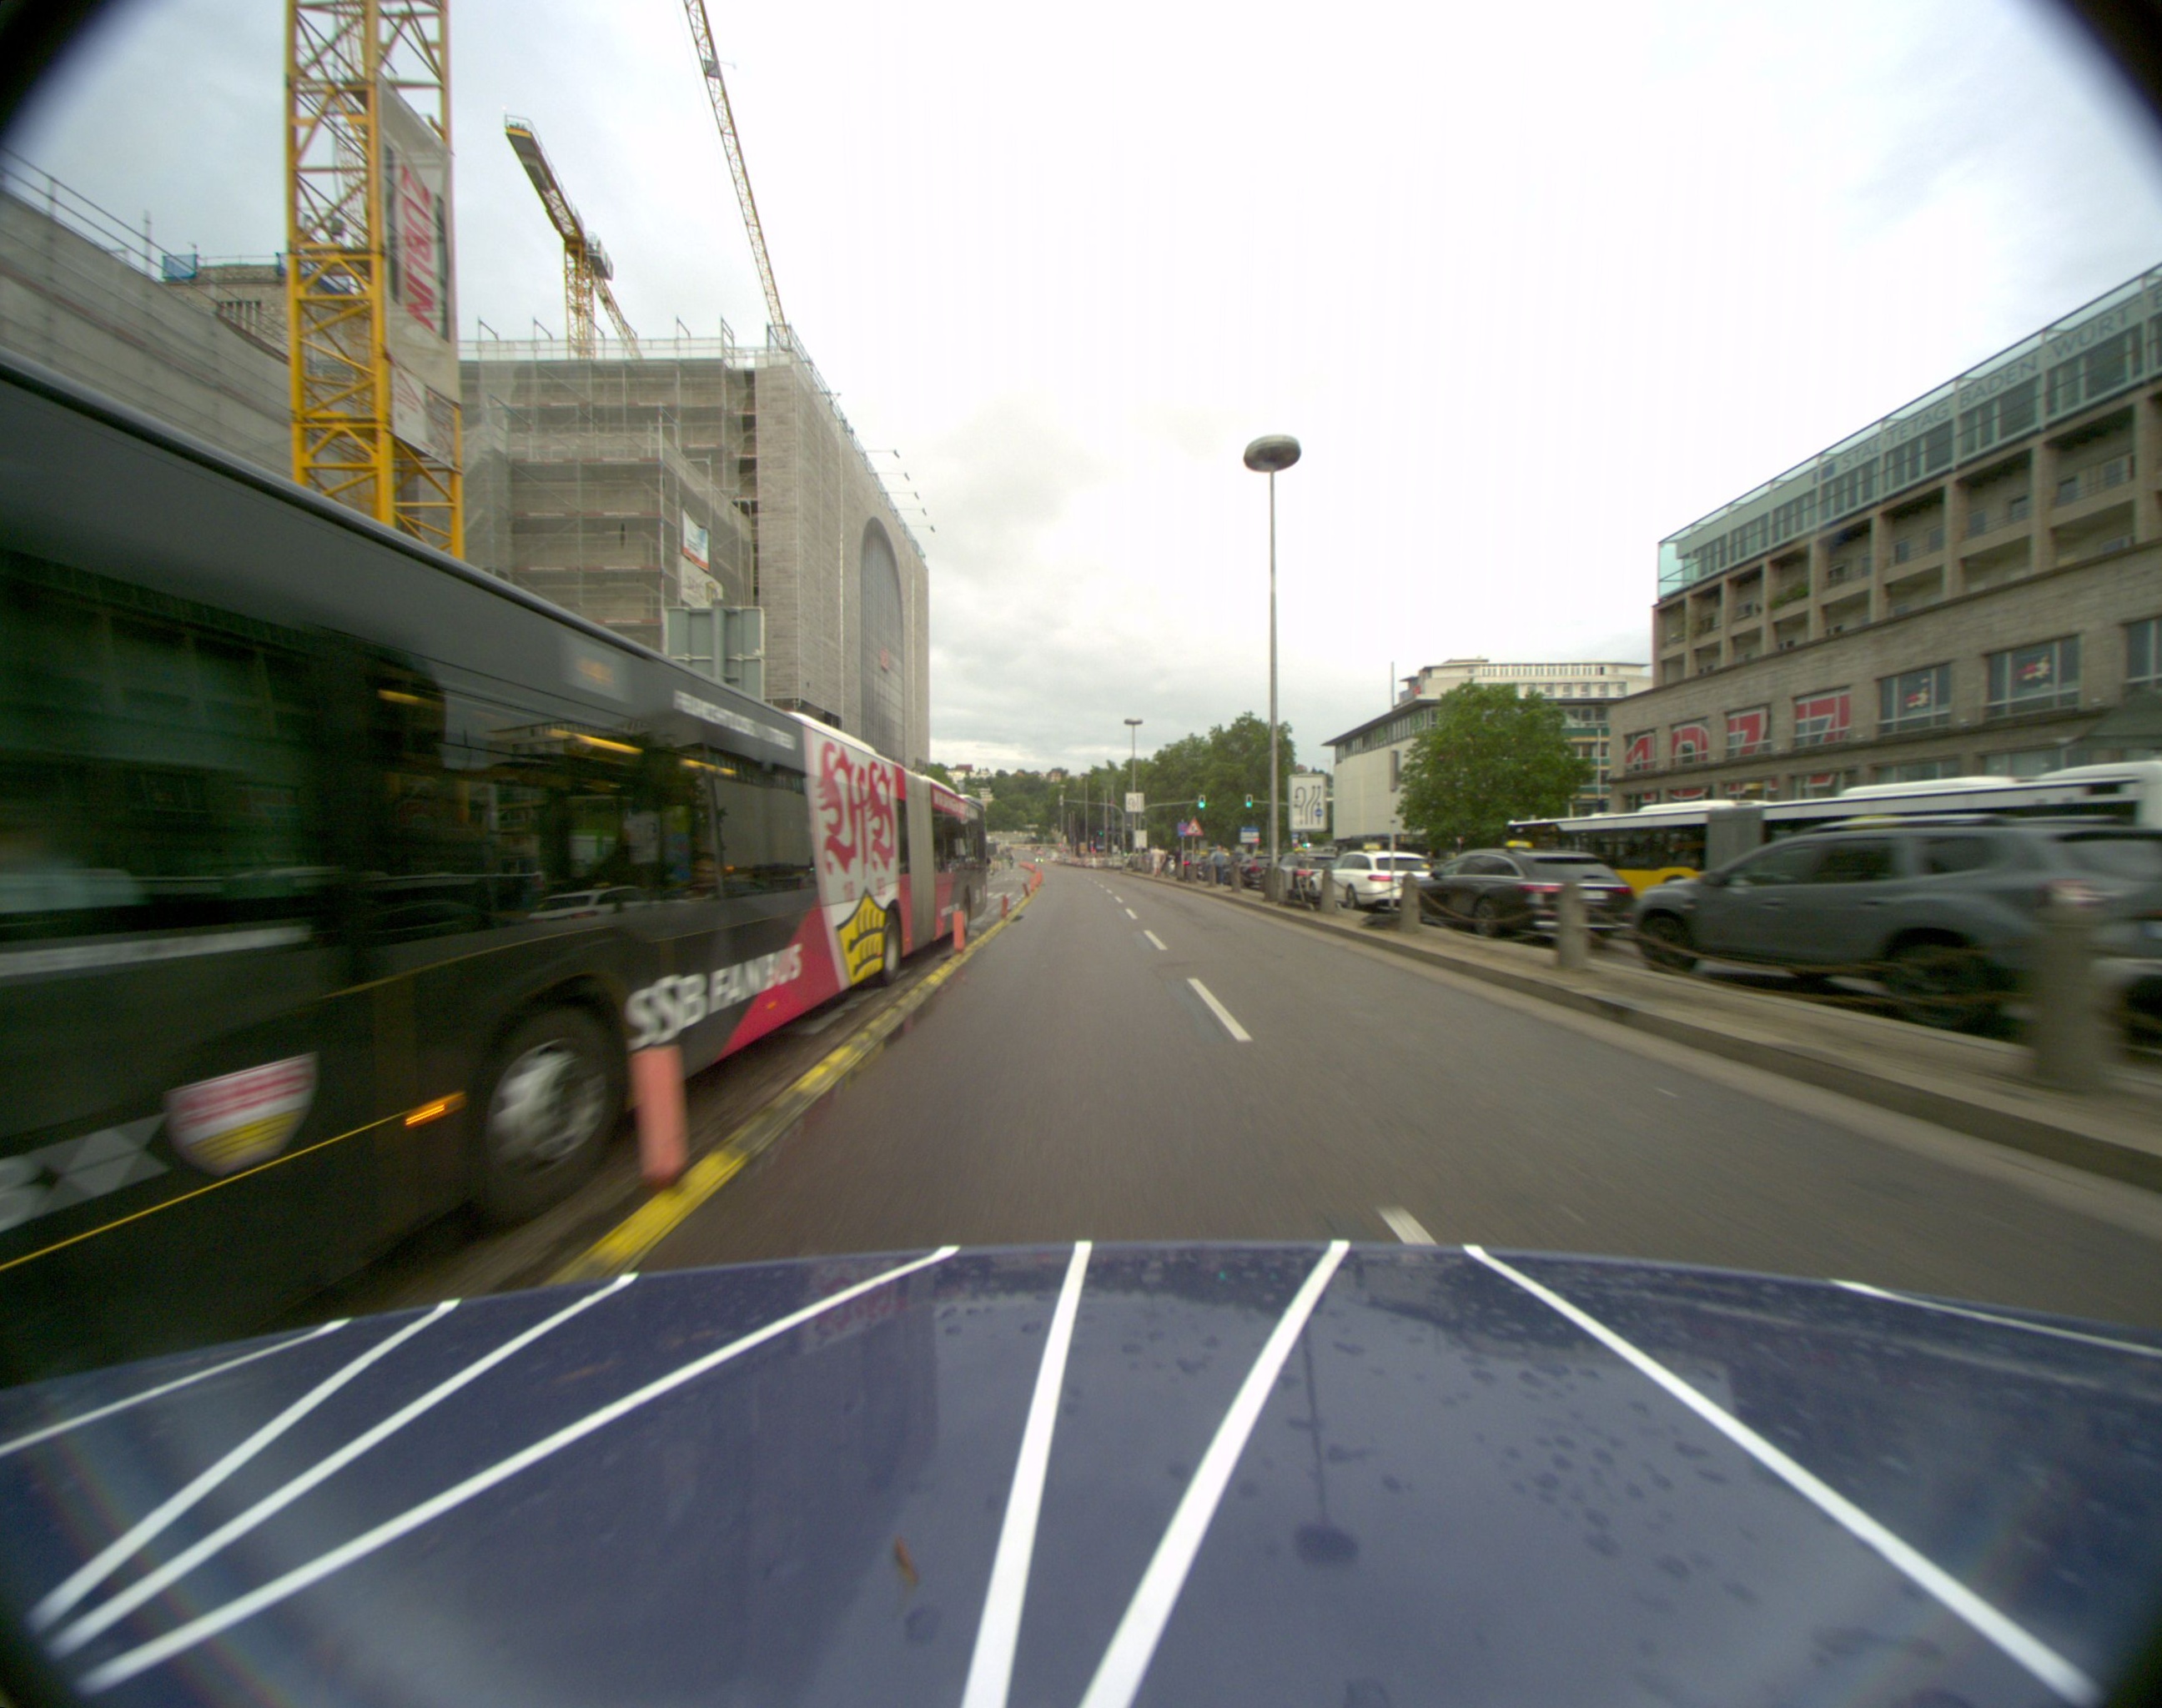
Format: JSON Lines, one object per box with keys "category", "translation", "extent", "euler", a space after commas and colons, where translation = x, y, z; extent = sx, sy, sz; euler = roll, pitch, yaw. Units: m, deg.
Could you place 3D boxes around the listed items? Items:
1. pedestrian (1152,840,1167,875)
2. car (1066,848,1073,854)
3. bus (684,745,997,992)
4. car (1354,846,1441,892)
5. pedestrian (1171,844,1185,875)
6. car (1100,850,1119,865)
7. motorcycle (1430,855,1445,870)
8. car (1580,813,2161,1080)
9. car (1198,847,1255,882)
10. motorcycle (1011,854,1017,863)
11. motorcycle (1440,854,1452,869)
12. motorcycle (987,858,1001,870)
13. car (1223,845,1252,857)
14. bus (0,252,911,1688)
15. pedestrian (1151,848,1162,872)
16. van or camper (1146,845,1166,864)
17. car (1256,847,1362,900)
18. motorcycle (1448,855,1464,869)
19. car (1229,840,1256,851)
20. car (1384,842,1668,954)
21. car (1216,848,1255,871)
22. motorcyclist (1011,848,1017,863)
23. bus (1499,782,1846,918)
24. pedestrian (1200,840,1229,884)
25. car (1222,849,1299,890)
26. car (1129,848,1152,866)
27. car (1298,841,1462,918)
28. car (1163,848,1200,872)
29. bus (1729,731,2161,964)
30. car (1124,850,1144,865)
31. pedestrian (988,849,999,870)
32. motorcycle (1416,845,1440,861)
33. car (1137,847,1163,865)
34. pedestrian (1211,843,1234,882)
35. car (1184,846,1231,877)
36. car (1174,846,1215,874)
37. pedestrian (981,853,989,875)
{"category": "pedestrian", "translation": [4.608, 0.204, 44.529], "extent": [0.724, 1.996, 0.772], "euler": [-2, 1, 0]}
{"category": "car", "translation": [-2.728, -0.755, 184.391], "extent": [1.682, 1.533, 3.174], "euler": [0, -1, 0]}
{"category": "bus", "translation": [-3.553, 0.142, 14.204], "extent": [2.762, 3.051, 9.079], "euler": [-2, 1, 1]}
{"category": "car", "translation": [13.881, 0.642, 33.589], "extent": [1.999, 1.818, 4.119], "euler": [-2, 0, -1]}
{"category": "pedestrian", "translation": [5.574, 0.316, 43.815], "extent": [0.700, 1.744, 0.711], "euler": [-1, 1, 0]}
{"category": "car", "translation": [3.543, 0.396, 94.623], "extent": [1.999, 1.806, 4.810], "euler": [0, 0, -2]}
{"category": "motorcycle", "translation": [26.215, 0.642, 55.898], "extent": [0.601, 1.051, 1.818], "euler": [-2, 0, 37]}
{"category": "car", "translation": [7.345, 0.569, 7.248], "extent": [1.934, 1.689, 4.884], "euler": [1, 1, 0]}
{"category": "car", "translation": [7.292, 0.480, 38.524], "extent": [1.935, 1.681, 4.681], "euler": [1, 1, -1]}
{"category": "motorcycle", "translation": [-8.764, 0.622, 99.372], "extent": [0.730, 1.221, 2.160], "euler": [0, -1, -7]}
{"category": "motorcycle", "translation": [28.925, 0.576, 60.224], "extent": [0.581, 1.127, 1.627], "euler": [-2, 0, 33]}
{"category": "motorcycle", "translation": [-7.624, 0.835, 66.368], "extent": [0.587, 1.015, 1.236], "euler": [-2, 1, -43]}
{"category": "car", "translation": [24.234, -0.411, 117.716], "extent": [3.735, 1.534, 1.855], "euler": [-4, 2, 37]}
{"category": "bus", "translation": [-3.644, 0.221, 5.148], "extent": [2.762, 3.048, 8.992], "euler": [-2, 1, 1]}
{"category": "pedestrian", "translation": [5.468, 0.441, 55.176], "extent": [0.653, 1.701, 0.593], "euler": [-2, 0, -2]}
{"category": "van or camper", "translation": [10.180, 0.072, 103.291], "extent": [1.999, 2.499, 5.369], "euler": [2, 0, -2]}
{"category": "car", "translation": [7.376, 0.563, 25.171], "extent": [1.935, 1.567, 5.011], "euler": [1, 1, -1]}
{"category": "motorcycle", "translation": [28.598, 0.601, 57.969], "extent": [0.582, 1.051, 1.625], "euler": [-2, 0, 8]}
{"category": "car", "translation": [30.603, -1.619, 144.019], "extent": [4.830, 2.002, 2.036], "euler": [-2, 0, 2]}
{"category": "car", "translation": [7.338, 0.604, 13.323], "extent": [1.935, 1.567, 5.051], "euler": [1, 1, -1]}
{"category": "car", "translation": [11.742, 0.382, 58.115], "extent": [1.935, 1.681, 4.681], "euler": [1, 1, -1]}
{"category": "motorcyclist", "translation": [-8.764, 0.210, 99.408], "extent": [0.726, 2.024, 0.587], "euler": [0, 0, -7]}
{"category": "bus", "translation": [17.633, -0.120, 24.196], "extent": [2.884, 3.357, 10.573], "euler": [0, 0, 1]}
{"category": "pedestrian", "translation": [5.471, 0.322, 31.251], "extent": [1.053, 1.758, 0.616], "euler": [-1, 1, -1]}
{"category": "car", "translation": [7.414, 0.576, 31.926], "extent": [1.935, 1.567, 5.260], "euler": [1, 1, -1]}
{"category": "car", "translation": [6.399, 0.314, 81.850], "extent": [1.908, 1.887, 4.522], "euler": [-2, 0, -3]}
{"category": "car", "translation": [7.245, 0.537, 19.111], "extent": [1.981, 1.650, 5.191], "euler": [1, 1, -1]}
{"category": "car", "translation": [7.291, 0.425, 55.623], "extent": [2.020, 1.611, 4.842], "euler": [-1, 0, 0]}
{"category": "bus", "translation": [17.423, -0.127, 13.488], "extent": [2.884, 3.439, 10.573], "euler": [-1, 0, 0]}
{"category": "car", "translation": [6.141, 0.397, 87.785], "extent": [1.789, 1.712, 4.482], "euler": [0, 0, -2]}
{"category": "pedestrian", "translation": [-7.619, 0.479, 66.353], "extent": [0.582, 1.730, 0.819], "euler": [-2, 1, -43]}
{"category": "motorcycle", "translation": [24.279, -0.039, 53.134], "extent": [1.443, 1.051, 0.602], "euler": [-2, 0, -11]}
{"category": "car", "translation": [6.835, 0.180, 75.707], "extent": [1.908, 1.689, 4.499], "euler": [-2, 0, -3]}
{"category": "pedestrian", "translation": [6.065, 0.366, 32.601], "extent": [0.724, 1.597, 0.996], "euler": [-2, 0, 0]}
{"category": "car", "translation": [7.365, 0.378, 44.625], "extent": [1.935, 1.681, 4.681], "euler": [1, 1, -1]}
{"category": "car", "translation": [7.405, 0.352, 50.117], "extent": [1.935, 1.681, 4.681], "euler": [1, 1, -1]}
{"category": "pedestrian", "translation": [-7.675, 0.811, 60.755], "extent": [0.560, 1.749, 0.751], "euler": [2, 1, -13]}
